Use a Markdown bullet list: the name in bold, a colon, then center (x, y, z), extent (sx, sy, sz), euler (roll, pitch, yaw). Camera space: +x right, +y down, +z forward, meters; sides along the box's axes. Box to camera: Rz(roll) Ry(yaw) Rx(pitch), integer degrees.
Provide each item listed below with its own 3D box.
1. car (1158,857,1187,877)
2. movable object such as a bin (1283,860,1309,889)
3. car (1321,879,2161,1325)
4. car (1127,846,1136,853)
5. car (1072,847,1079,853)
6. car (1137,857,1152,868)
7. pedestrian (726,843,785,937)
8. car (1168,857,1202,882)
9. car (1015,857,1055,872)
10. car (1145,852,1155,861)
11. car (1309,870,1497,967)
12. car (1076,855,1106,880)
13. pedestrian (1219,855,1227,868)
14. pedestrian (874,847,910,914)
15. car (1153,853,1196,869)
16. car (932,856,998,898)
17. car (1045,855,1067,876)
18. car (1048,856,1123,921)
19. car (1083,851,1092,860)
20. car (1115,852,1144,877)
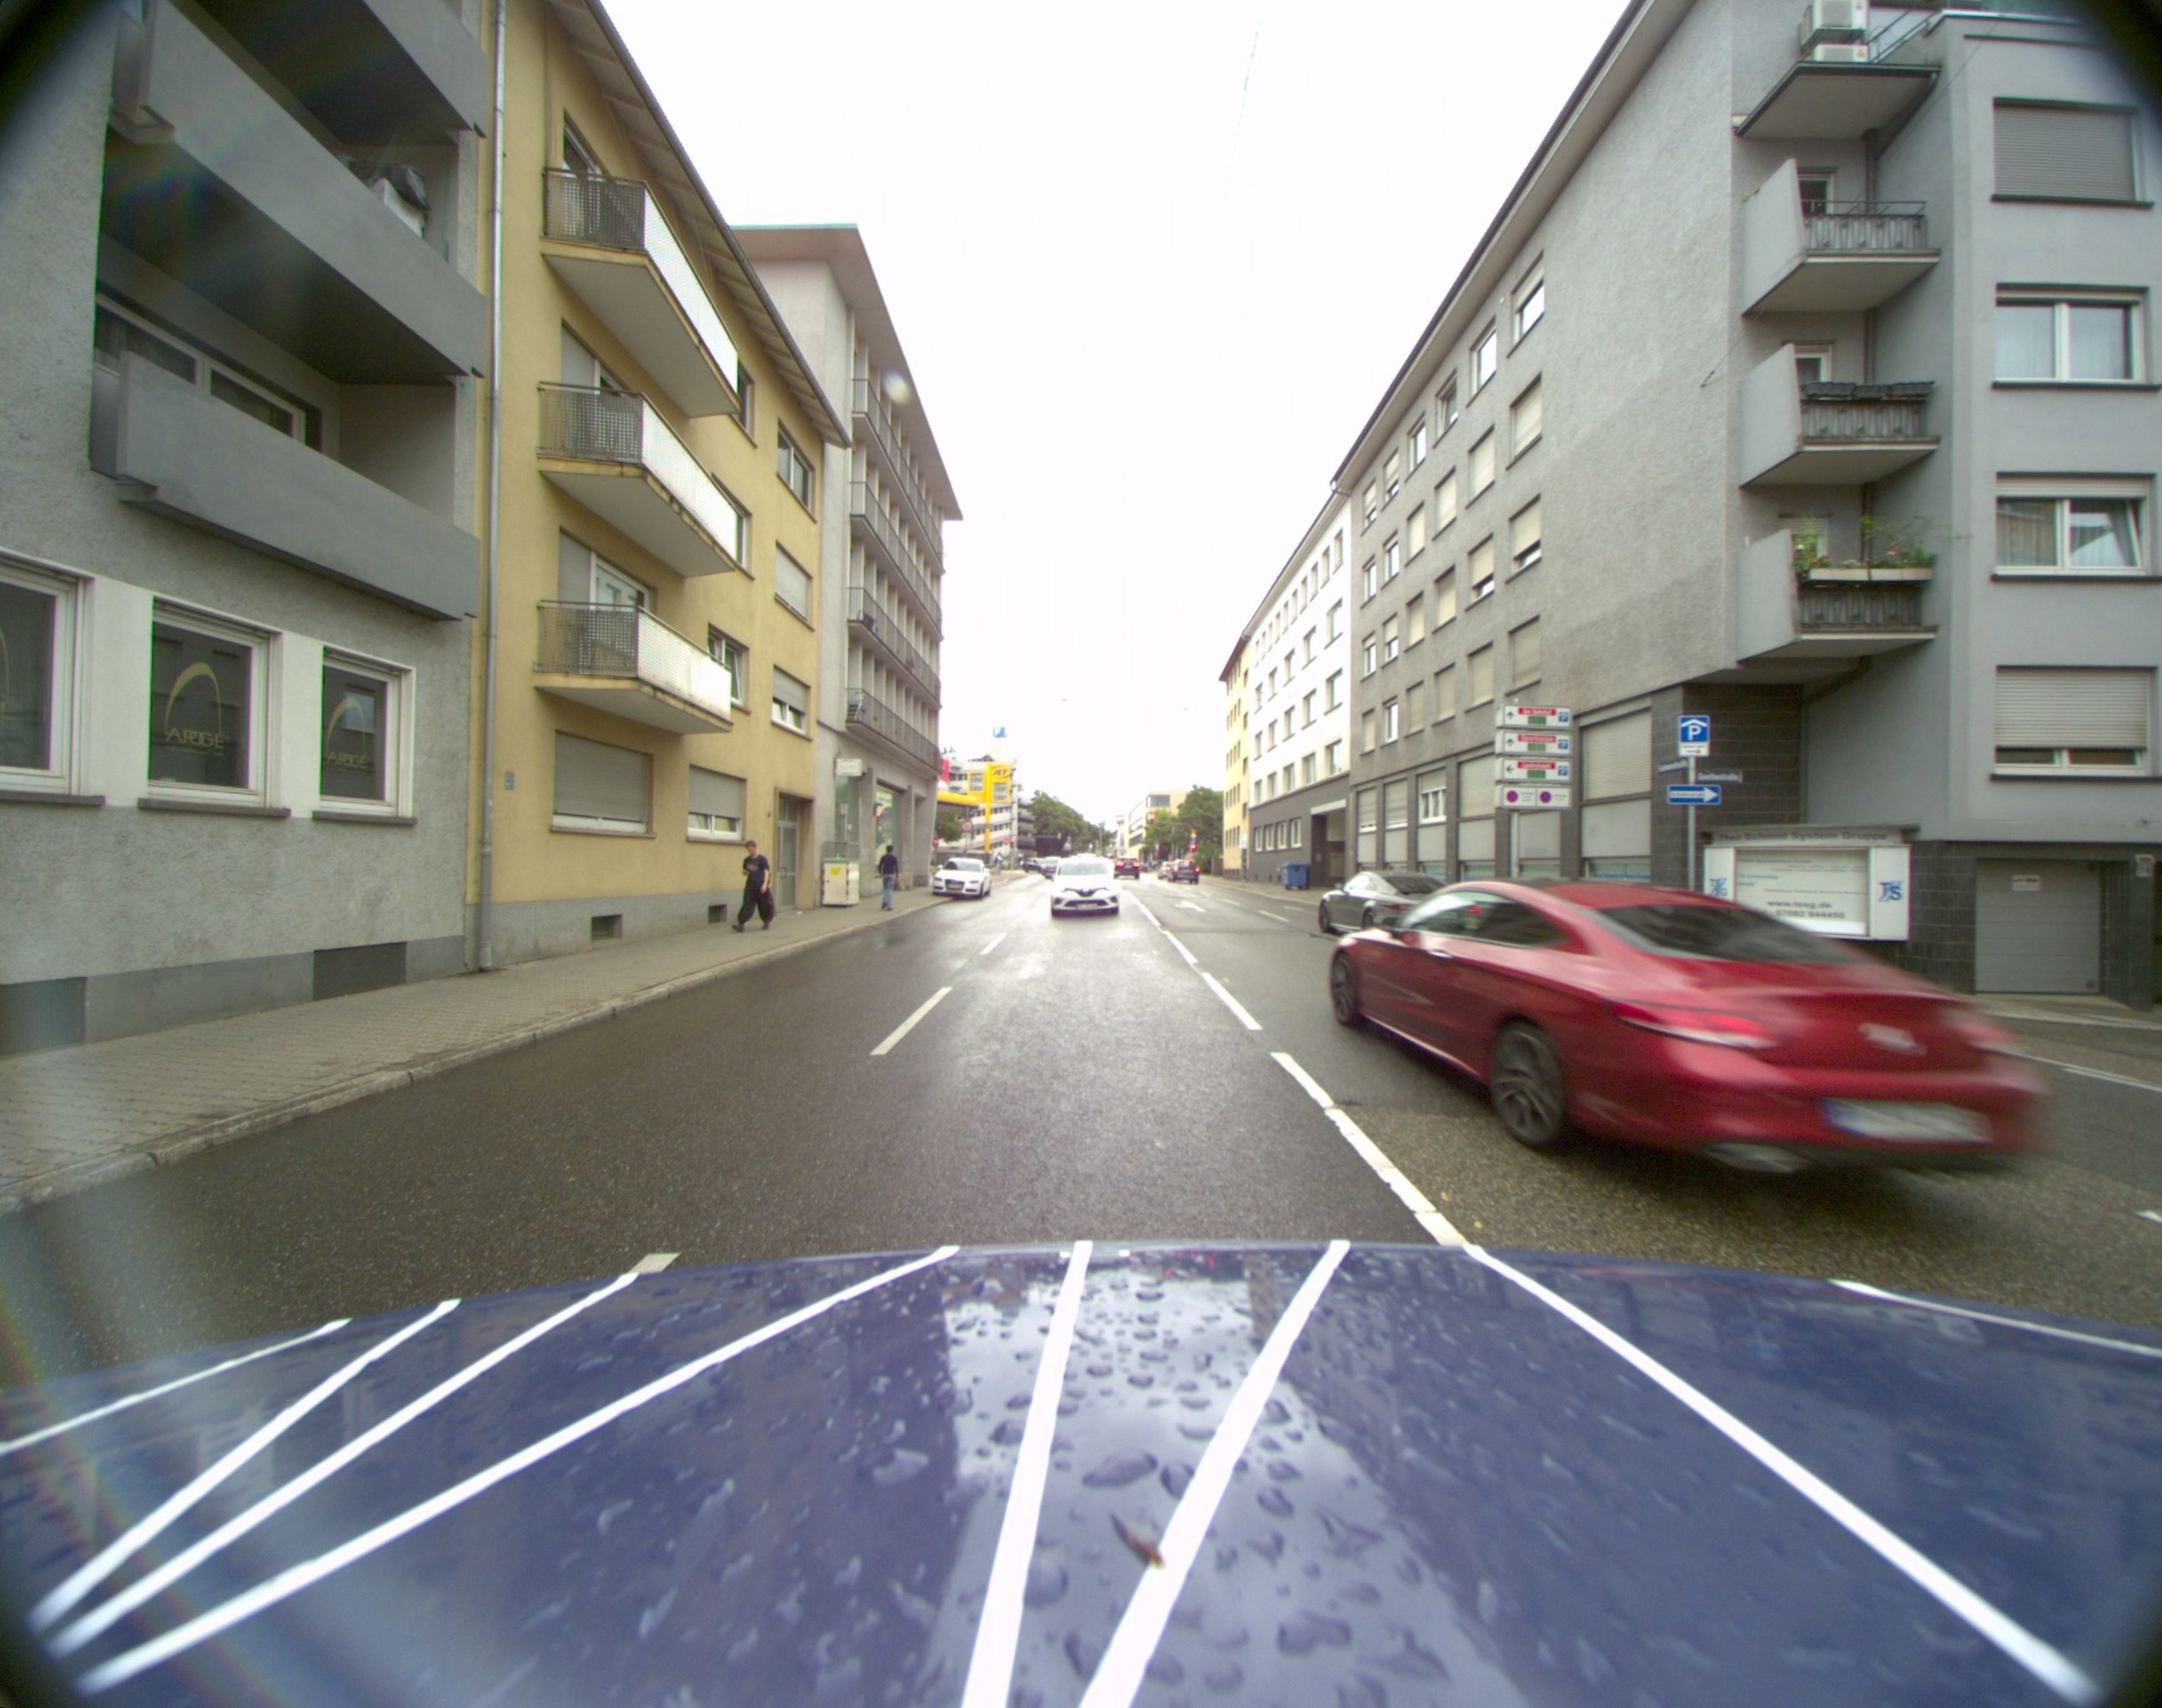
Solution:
- **car**: center (7.418, 1.036, 62.124), extent (1.883, 1.580, 4.373), euler (0, 0, 1)
- **movable object such as a bin**: center (10.402, 1.000, 36.788), extent (0.946, 1.325, 1.096), euler (-3, 1, 1)
- **car**: center (3.084, 0.956, 4.879), extent (1.729, 1.382, 4.339), euler (2, 0, 1)
- **car**: center (12.855, -1.098, 192.888), extent (1.998, 1.683, 4.000), euler (-2, 1, 2)
- **car**: center (-1.884, -1.334, 257.724), extent (1.998, 1.827, 3.999), euler (-2, 1, 1)
- **car**: center (9.607, 1.289, 115.304), extent (1.883, 1.580, 4.373), euler (0, 0, 1)
- **pedestrian**: center (-6.245, 0.672, 14.596), extent (0.678, 1.745, 0.888), euler (1, 1, 6)
- **car**: center (6.981, 1.013, 51.368), extent (1.707, 1.498, 4.159), euler (3, 0, 0)
- **car**: center (-4.731, 1.069, 77.856), extent (1.775, 1.436, 3.989), euler (-3, 1, -44)
- **car**: center (15.452, 0.599, 170.050), extent (1.998, 1.863, 3.999), euler (-2, 1, 0)
- **car**: center (5.739, 1.074, 14.099), extent (1.772, 1.338, 3.888), euler (4, 0, 0)
- **car**: center (0.746, 1.015, 57.952), extent (2.132, 1.711, 4.817), euler (2, 0, 0)
- **pedestrian**: center (13.049, 0.684, 69.899), extent (0.582, 1.143, 0.407), euler (3, 1, 2)
- **pedestrian**: center (-5.160, 0.703, 20.764), extent (0.644, 1.768, 1.056), euler (3, 1, 0)
- **car**: center (9.636, 0.758, 78.226), extent (3.992, 1.485, 1.774), euler (-2, 1, 19)
- **car**: center (-4.366, 0.826, 29.063), extent (1.803, 1.427, 4.166), euler (1, 0, 1)
- **car**: center (-2.181, 0.991, 66.662), extent (1.771, 1.638, 4.000), euler (2, 0, 0)
- **car**: center (0.121, 0.851, 20.383), extent (1.771, 1.465, 4.000), euler (-2, 0, 0)
- **car**: center (1.584, 0.344, 178.849), extent (1.998, 2.002, 3.999), euler (-2, 1, 1)
- **car**: center (3.652, 0.779, 58.085), extent (1.841, 1.717, 4.474), euler (3, 0, 0)
